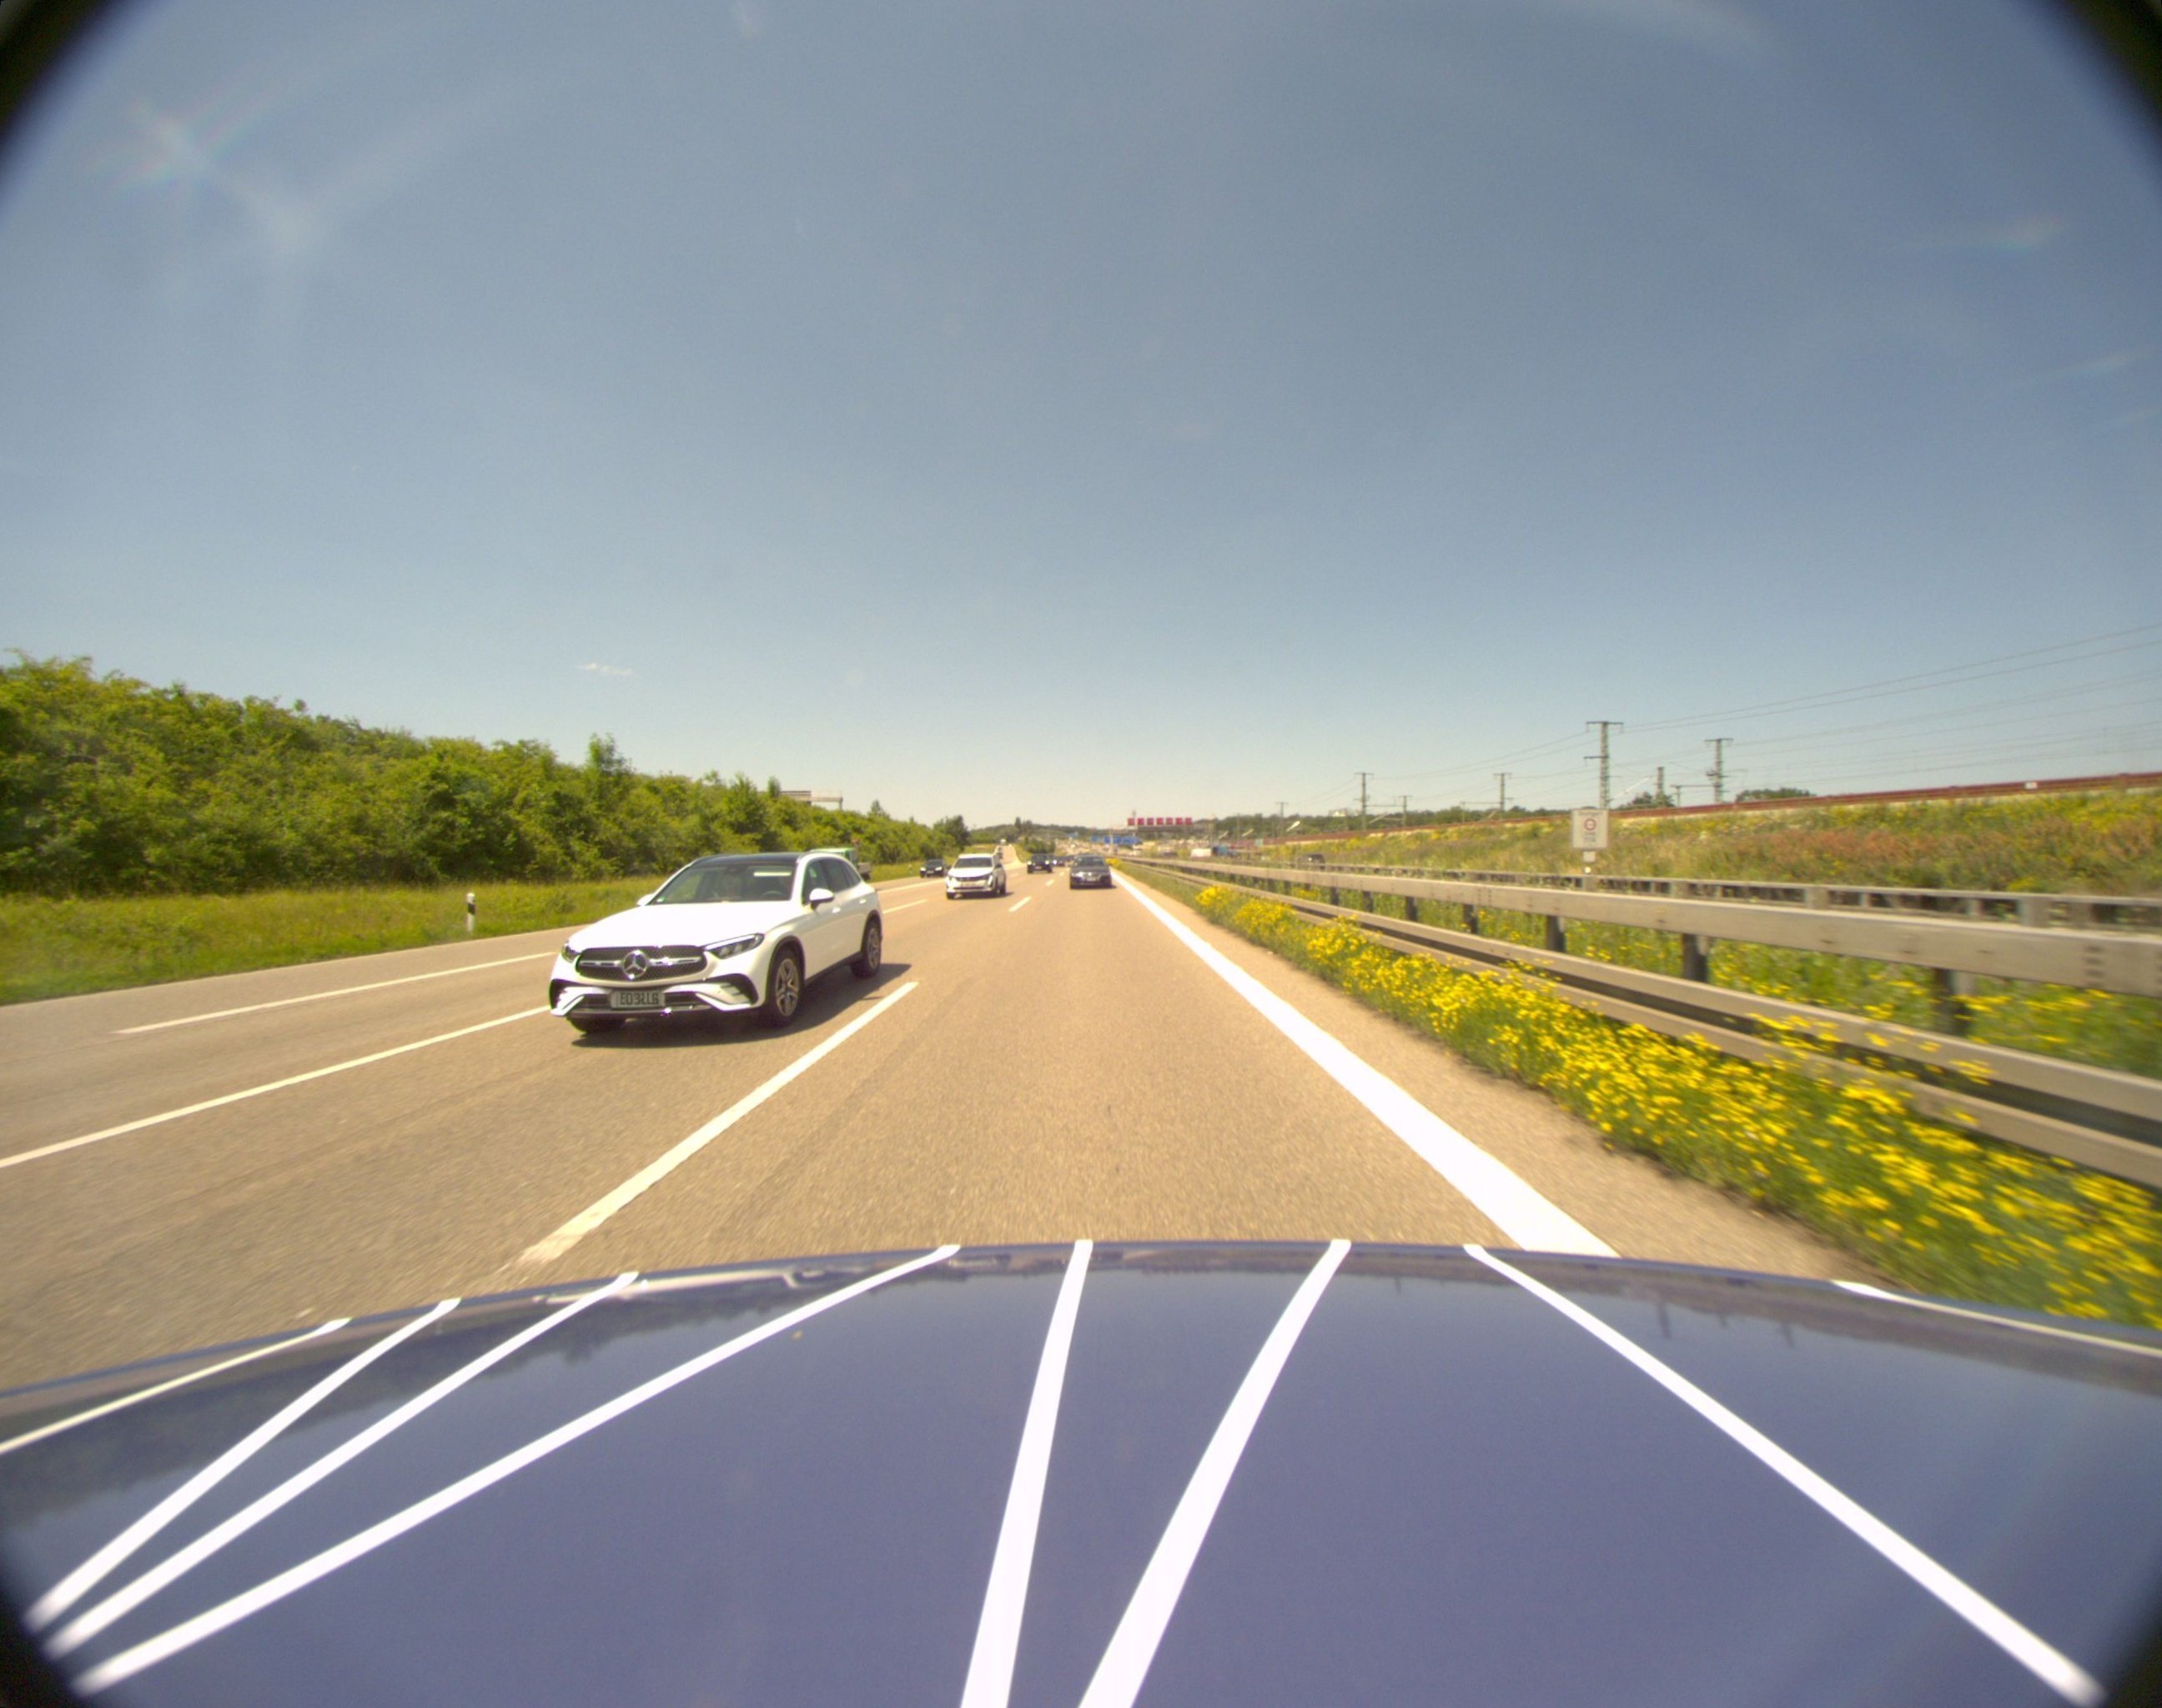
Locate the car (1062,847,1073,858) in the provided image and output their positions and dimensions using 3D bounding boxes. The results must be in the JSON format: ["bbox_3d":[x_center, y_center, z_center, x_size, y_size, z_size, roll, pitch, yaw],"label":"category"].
[{"bbox_3d":[-2.635,-0.279,145.138,1.999,2.002,3.999,-2,1,0],"label":"car"}]

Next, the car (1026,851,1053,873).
[{"bbox_3d":[-3.463,0.638,64.166,1.983,1.620,4.615,-2,1,-1],"label":"car"}]

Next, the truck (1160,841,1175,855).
[{"bbox_3d":[22.513,-1.566,198.123,2.864,3.446,7.780,-3,0,1],"label":"truck"}]

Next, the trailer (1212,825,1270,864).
[{"bbox_3d":[17.174,-1.013,83.158,3.058,3.845,15.976,-1,0,0],"label":"trailer"}]

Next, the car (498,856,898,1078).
[{"bbox_3d":[-3.578,0.897,8.309,1.909,1.646,4.636,-2,0,1],"label":"car"}]

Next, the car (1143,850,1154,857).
[{"bbox_3d":[14.894,-0.162,167.836,1.925,1.601,5.395,1,0,0],"label":"car"}]

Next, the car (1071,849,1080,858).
[{"bbox_3d":[-1.217,-0.202,178.785,1.999,2.002,3.999,-2,1,0],"label":"car"}]

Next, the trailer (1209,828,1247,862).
[{"bbox_3d":[17.218,-1.048,89.362,3.058,3.845,7.202,-1,1,0],"label":"trailer"}]

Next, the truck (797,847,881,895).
[{"bbox_3d":[-11.525,0.735,36.709,2.170,2.080,6.117,-1,1,-1],"label":"truck"}]

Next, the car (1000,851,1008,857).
[{"bbox_3d":[-22.748,0.083,224.928,1.983,1.620,4.615,-2,1,-1],"label":"car"}]

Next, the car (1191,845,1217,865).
[{"bbox_3d":[13.386,0.083,83.126,1.998,2.002,5.431,-1,0,0],"label":"car"}]

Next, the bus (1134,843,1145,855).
[{"bbox_3d":[19.783,-1.619,255.731,2.864,3.624,10.940,-3,0,1],"label":"bus"}]

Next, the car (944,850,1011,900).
[{"bbox_3d":[-3.884,0.749,29.259,1.898,1.620,4.616,-2,1,0],"label":"car"}]

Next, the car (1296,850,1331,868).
[{"bbox_3d":[21.191,0.438,69.459,1.922,1.506,4.238,-1,1,0],"label":"car"}]

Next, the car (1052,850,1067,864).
[{"bbox_3d":[-2.589,0.328,91.848,1.752,1.462,3.998,-2,2,-2],"label":"car"}]

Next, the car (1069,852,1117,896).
[{"bbox_3d":[0.449,0.752,30.723,1.752,1.462,3.998,-2,2,0],"label":"car"}]

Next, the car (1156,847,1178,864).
[{"bbox_3d":[9.098,0.139,80.560,1.998,1.838,4.000,-1,1,1],"label":"car"}]

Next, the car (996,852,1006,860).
[{"bbox_3d":[-18.946,0.492,179.904,1.983,1.620,4.615,-2,1,-1],"label":"car"}]

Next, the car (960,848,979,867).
[{"bbox_3d":[-12.984,0.405,88.460,2.000,2.159,4.890,-1,0,-7],"label":"car"}]
